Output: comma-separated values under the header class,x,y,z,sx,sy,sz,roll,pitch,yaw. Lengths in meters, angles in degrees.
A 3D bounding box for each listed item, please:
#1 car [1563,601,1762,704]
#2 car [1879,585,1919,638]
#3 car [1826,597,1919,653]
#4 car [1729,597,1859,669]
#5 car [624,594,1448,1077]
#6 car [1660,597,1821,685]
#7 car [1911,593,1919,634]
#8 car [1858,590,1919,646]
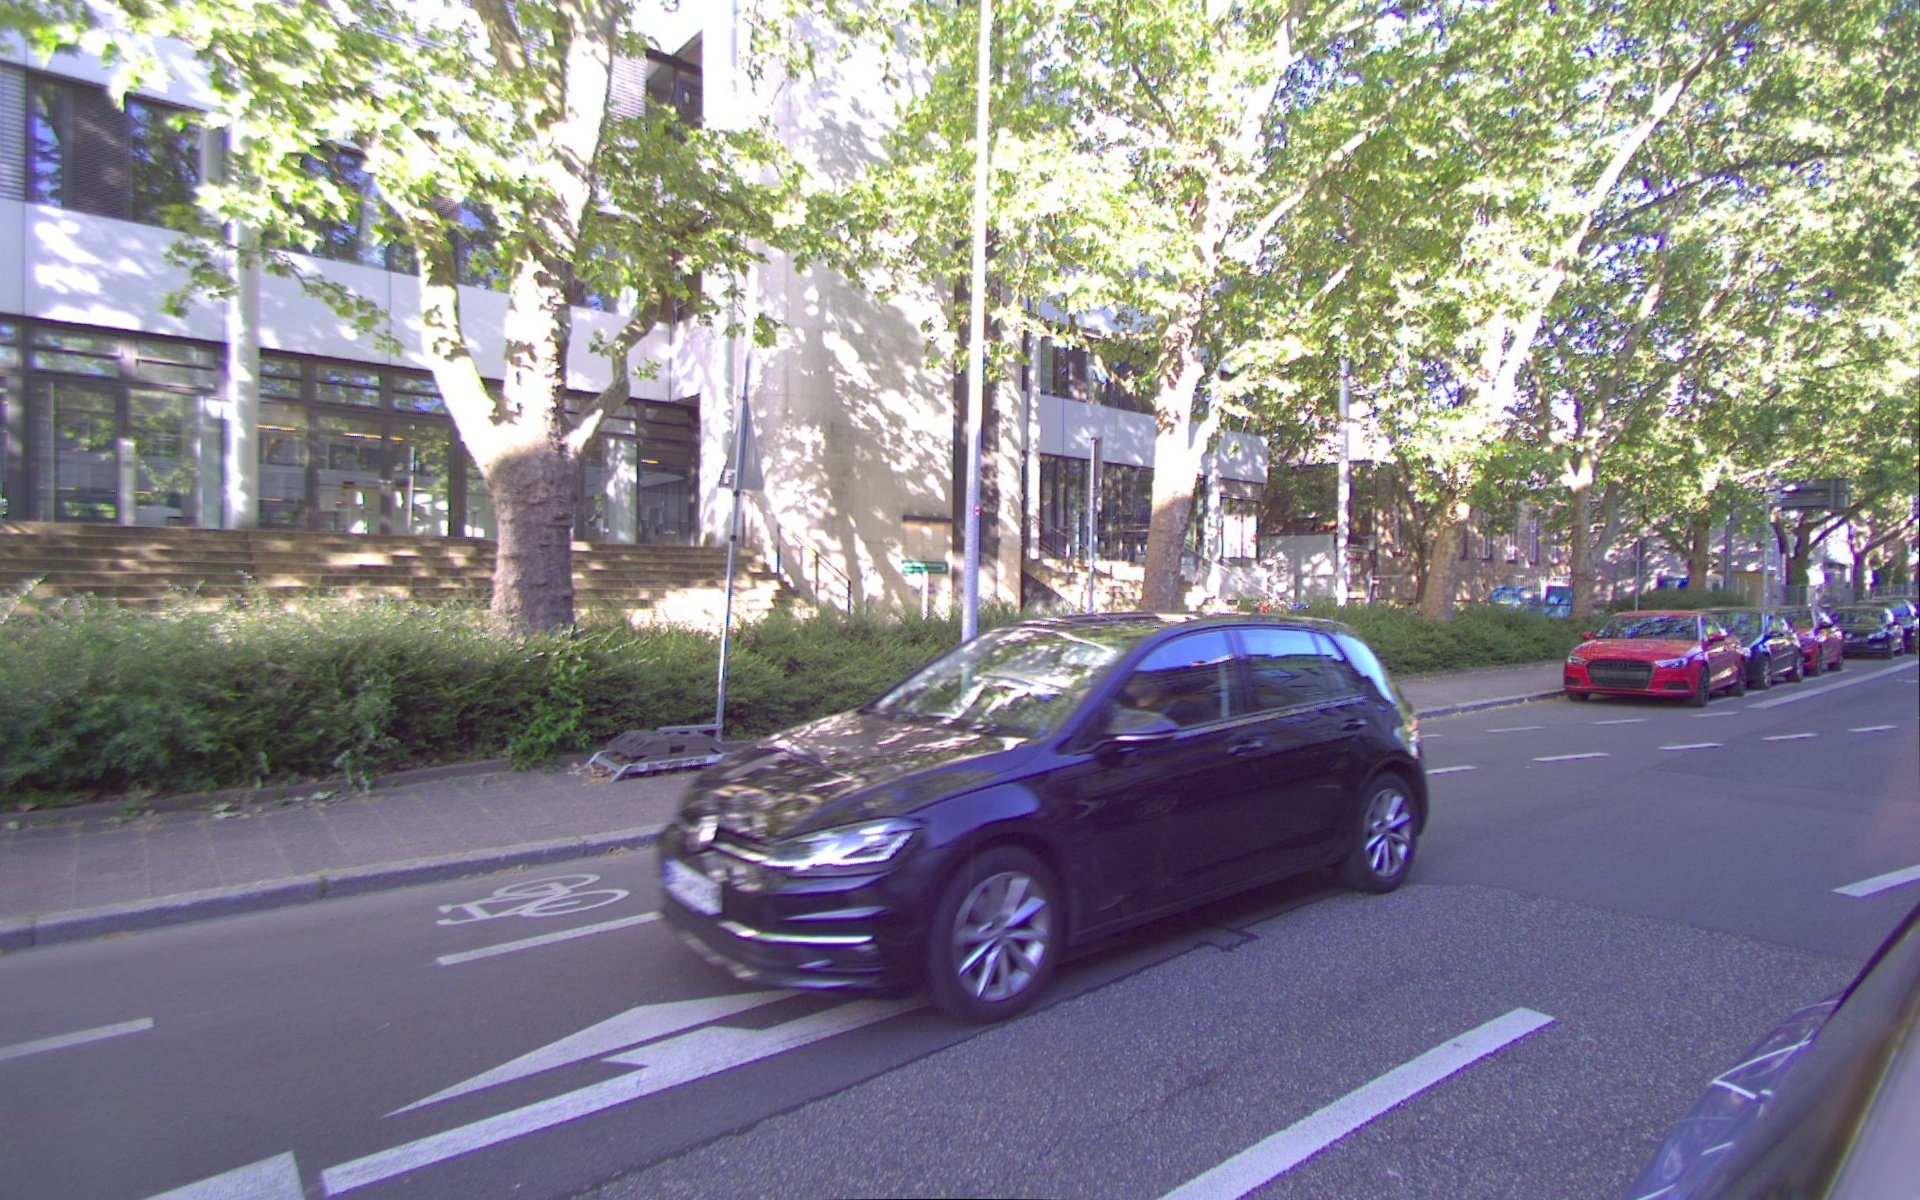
class,x,y,z,sx,sy,sz,roll,pitch,yaw
car,11.253,0.753,16.121,3.962,1.439,1.722,0,-2,-42
car,33.978,0.390,35.711,4.354,1.790,1.818,0,1,-41
car,26.022,0.654,28.702,3.930,1.469,1.684,0,1,-41
car,18.619,0.674,22.542,3.715,1.452,1.664,0,1,-41
car,0.550,0.717,4.926,3.829,1.459,1.694,0,0,-36
car,14.817,0.703,19.148,3.930,1.485,1.684,0,0,-41
car,38.715,0.510,39.727,3.801,1.581,1.684,0,1,-41
car,29.523,0.523,31.655,3.770,1.640,1.684,0,1,-41
